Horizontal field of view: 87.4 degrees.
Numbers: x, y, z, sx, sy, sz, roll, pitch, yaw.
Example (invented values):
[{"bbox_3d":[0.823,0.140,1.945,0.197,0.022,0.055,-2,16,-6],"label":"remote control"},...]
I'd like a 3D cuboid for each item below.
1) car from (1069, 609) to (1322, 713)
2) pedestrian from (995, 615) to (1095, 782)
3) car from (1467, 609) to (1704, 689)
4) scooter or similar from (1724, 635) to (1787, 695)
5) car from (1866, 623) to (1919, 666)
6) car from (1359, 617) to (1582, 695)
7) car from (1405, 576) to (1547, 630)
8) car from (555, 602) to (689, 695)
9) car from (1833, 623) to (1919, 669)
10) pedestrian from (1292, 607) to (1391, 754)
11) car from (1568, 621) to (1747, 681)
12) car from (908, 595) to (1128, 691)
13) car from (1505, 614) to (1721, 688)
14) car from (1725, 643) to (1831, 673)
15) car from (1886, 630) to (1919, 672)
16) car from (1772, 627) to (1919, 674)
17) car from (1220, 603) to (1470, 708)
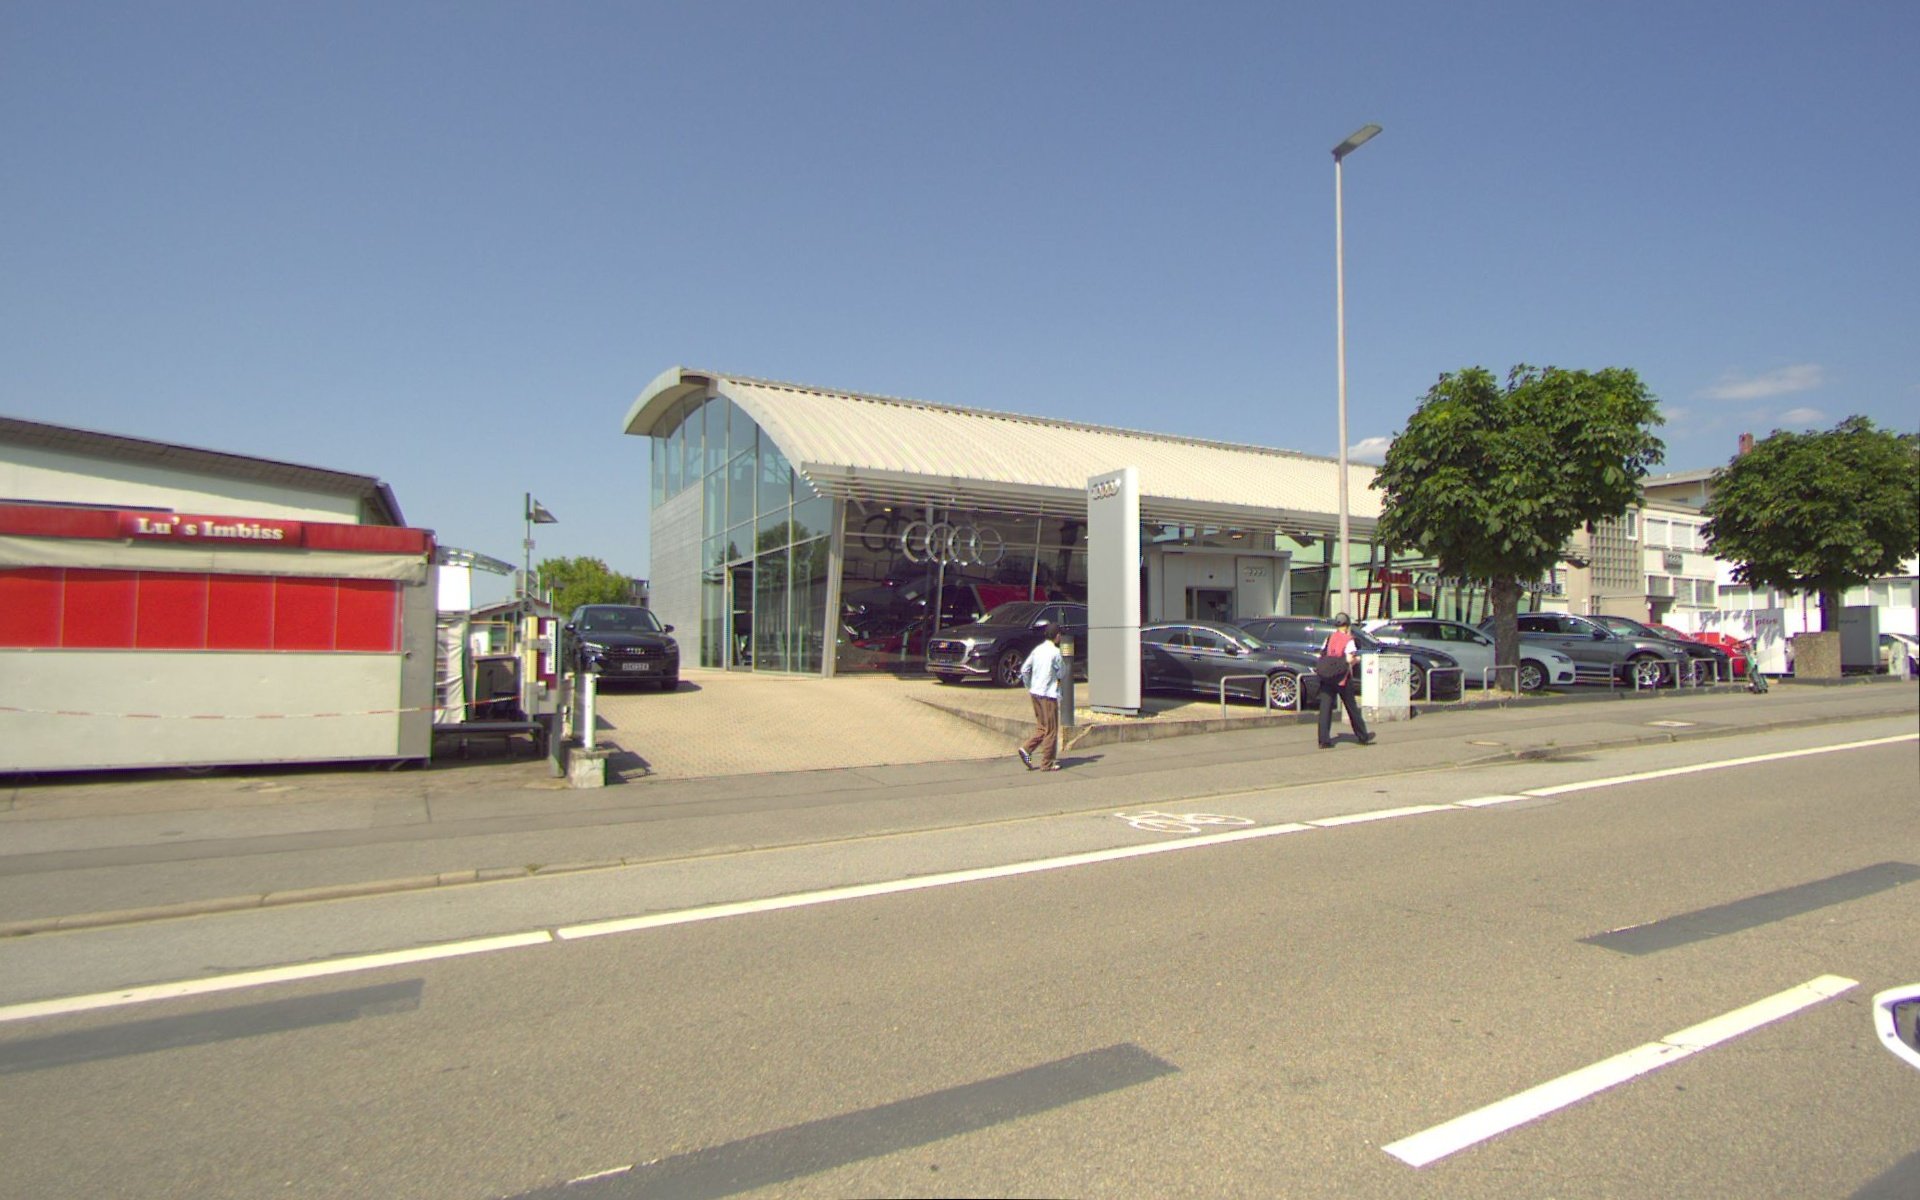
[{"bbox_3d":[4.265,1.040,18.218,4.083,1.478,1.906,3,0,26],"label":"car"},{"bbox_3d":[0.992,1.119,11.816,0.900,1.872,0.720,0,-2,-27],"label":"pedestrian"},{"bbox_3d":[14.445,1.115,23.552,4.495,1.719,1.857,-1,-2,26],"label":"car"},{"bbox_3d":[17.676,1.427,22.319,1.477,1.264,0.738,1,-2,-37],"label":"scooter or similar"},{"bbox_3d":[34.921,1.678,35.466,1.838,1.462,3.966,4,0,-31],"label":"car"},{"bbox_3d":[10.933,1.156,21.744,4.124,1.514,1.873,0,-1,26],"label":"car"},{"bbox_3d":[17.204,0.119,33.529,3.934,1.706,1.994,0,-2,-16],"label":"car"},{"bbox_3d":[-6.484,0.881,18.998,1.873,1.545,3.973,1,-2,-27],"label":"car"},{"bbox_3d":[32.887,1.637,34.587,1.804,1.463,3.868,4,0,-32],"label":"car"},{"bbox_3d":[5.157,1.059,13.582,1.035,1.892,0.729,0,-2,-30],"label":"pedestrian"},{"bbox_3d":[19.271,1.390,27.990,3.930,1.570,1.855,-1,-2,31],"label":"car"},{"bbox_3d":[1.329,0.839,21.131,4.701,1.742,1.973,1,1,-45],"label":"car"},{"bbox_3d":[16.526,1.243,25.722,4.397,1.730,1.909,0,-1,26],"label":"car"},{"bbox_3d":[43.291,3.066,53.248,1.837,1.480,3.969,1,-2,-30],"label":"car"},{"bbox_3d":[37.110,2.011,37.065,1.839,1.510,3.964,4,0,-32],"label":"car"},{"bbox_3d":[30.454,1.679,33.787,1.878,1.476,4.503,1,-3,-30],"label":"car"},{"bbox_3d":[7.596,1.007,19.926,4.399,1.631,1.963,2,4,26],"label":"car"}]
